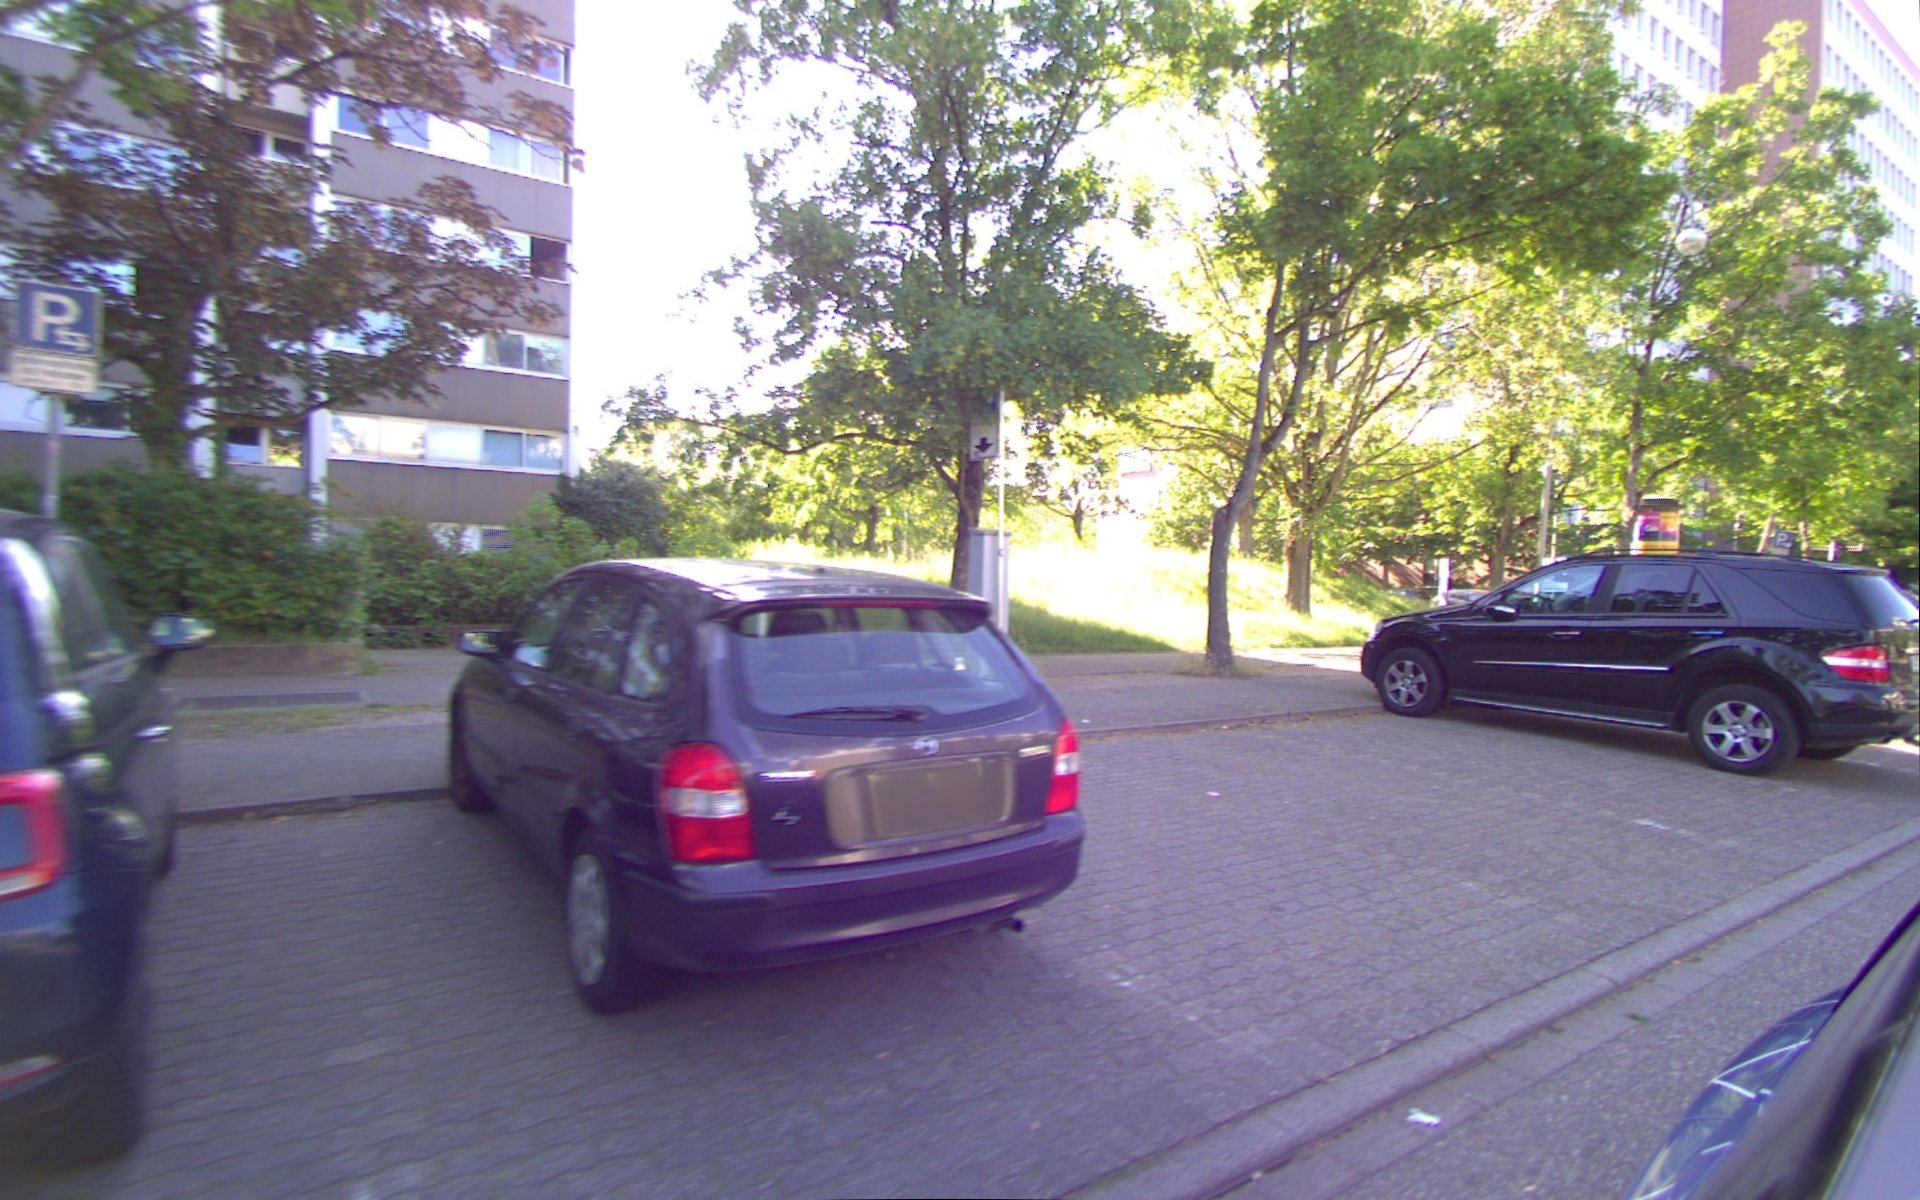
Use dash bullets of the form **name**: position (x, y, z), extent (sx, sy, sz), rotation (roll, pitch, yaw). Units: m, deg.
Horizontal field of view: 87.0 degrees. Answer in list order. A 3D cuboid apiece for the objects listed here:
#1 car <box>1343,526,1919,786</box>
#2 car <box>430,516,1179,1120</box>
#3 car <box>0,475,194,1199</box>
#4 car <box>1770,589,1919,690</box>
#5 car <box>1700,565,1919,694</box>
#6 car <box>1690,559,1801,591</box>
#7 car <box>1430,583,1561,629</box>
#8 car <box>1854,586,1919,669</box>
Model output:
- **car**: position (6.286, 0.266, 9.618), extent (1.962, 1.800, 4.605), rotation (0, 4, -34)
- **car**: position (-1.144, 0.411, 4.626), extent (1.787, 1.403, 4.004), rotation (1, 5, -35)
- **car**: position (-3.361, 0.377, 3.034), extent (1.670, 1.516, 3.821), rotation (0, 4, -38)
- **car**: position (16.029, 0.647, 16.218), extent (1.784, 1.564, 4.455), rotation (0, 1, -37)
- **car**: position (13.432, 0.411, 14.555), extent (1.701, 1.637, 4.133), rotation (-1, 5, -36)
- **car**: position (45.313, -1.470, 58.476), extent (1.841, 1.707, 4.729), rotation (1, 2, -38)
- **car**: position (20.259, 0.200, 38.420), extent (1.800, 1.549, 4.000), rotation (1, 2, -36)
- **car**: position (20.844, 0.678, 19.993), extent (1.803, 1.612, 4.442), rotation (0, 4, -37)
